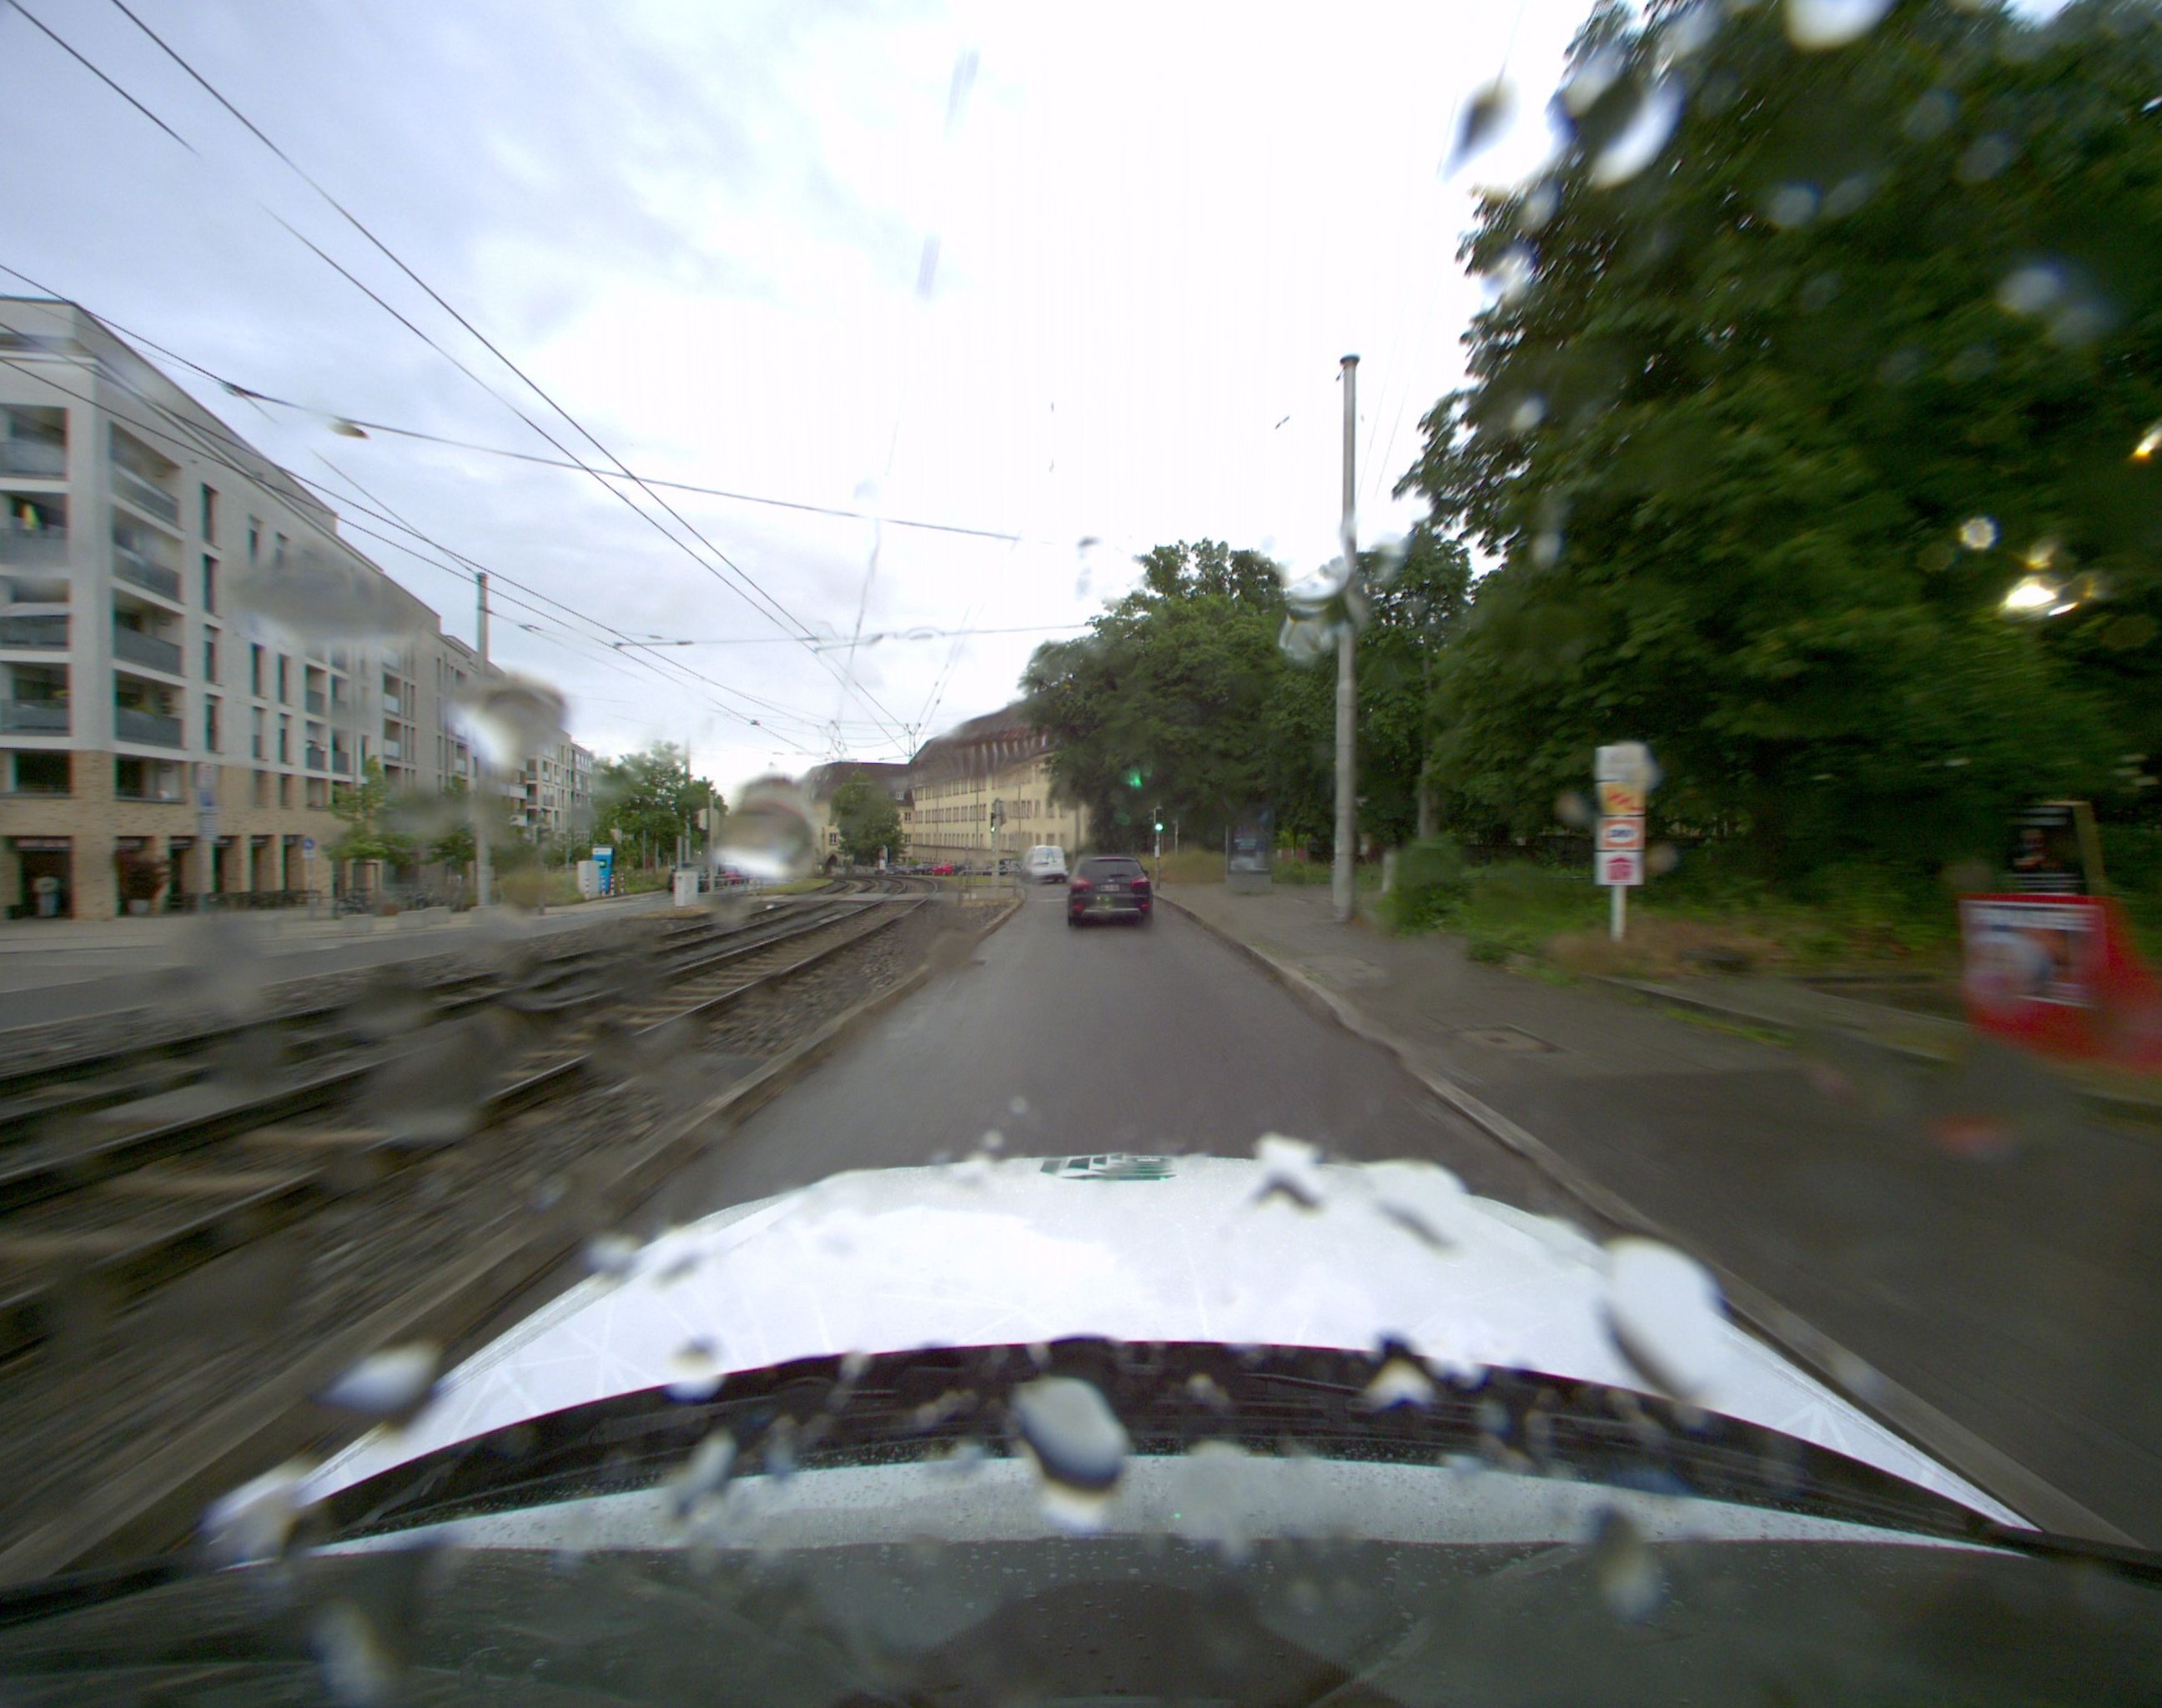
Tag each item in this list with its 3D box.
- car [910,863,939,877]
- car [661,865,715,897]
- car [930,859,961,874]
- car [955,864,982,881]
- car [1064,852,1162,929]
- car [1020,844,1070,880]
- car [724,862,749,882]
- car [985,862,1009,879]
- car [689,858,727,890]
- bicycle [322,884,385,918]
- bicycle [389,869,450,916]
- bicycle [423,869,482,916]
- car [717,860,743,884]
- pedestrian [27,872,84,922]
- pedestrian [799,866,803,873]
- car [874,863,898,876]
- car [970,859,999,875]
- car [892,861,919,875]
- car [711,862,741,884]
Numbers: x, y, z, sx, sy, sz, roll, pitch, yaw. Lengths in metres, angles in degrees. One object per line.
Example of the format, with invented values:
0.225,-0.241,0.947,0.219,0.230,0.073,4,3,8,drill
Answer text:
-17.534,1.757,91.107,1.677,1.476,4.412,-2,0,-32,car
-21.391,1.456,44.492,1.998,1.605,4.190,2,-2,-17,car
-14.446,1.342,86.834,1.678,1.476,4.021,0,-2,-36,car
-11.385,1.883,82.069,1.673,1.573,3.825,-2,0,-24,car
0.701,0.722,18.198,1.913,1.479,4.002,-2,0,2,car
-1.958,0.381,42.756,2.136,1.745,4.205,-2,0,-9,car
-29.102,1.499,68.891,1.738,1.644,4.499,0,-1,-21,car
-7.574,1.462,73.320,1.602,1.465,2.705,-2,0,-17,car
-22.762,1.205,49.779,1.585,1.859,4.306,1,-1,-18,car
-25.634,1.646,28.742,0.474,1.047,2.224,-2,0,-8,bicycle
-23.660,1.354,29.188,0.675,1.596,2.351,-1,-1,-11,bicycle
-22.661,1.339,29.410,0.675,1.596,2.351,-1,-1,-11,bicycle
-27.330,1.397,63.530,1.669,1.748,4.227,-1,-1,-20,car
-35.896,1.498,28.514,0.834,1.652,0.906,-3,0,9,pedestrian
-47.684,2.626,138.616,0.508,1.315,0.505,-1,-1,-35,pedestrian
-24.099,1.948,100.775,1.677,1.524,4.067,-2,0,-32,car
-9.141,1.232,76.991,1.544,1.416,3.611,-2,0,-27,car
-20.750,1.676,96.046,1.678,1.476,4.065,-2,0,-34,car
-25.687,1.359,59.022,1.471,1.531,2.917,1,-1,-14,car
